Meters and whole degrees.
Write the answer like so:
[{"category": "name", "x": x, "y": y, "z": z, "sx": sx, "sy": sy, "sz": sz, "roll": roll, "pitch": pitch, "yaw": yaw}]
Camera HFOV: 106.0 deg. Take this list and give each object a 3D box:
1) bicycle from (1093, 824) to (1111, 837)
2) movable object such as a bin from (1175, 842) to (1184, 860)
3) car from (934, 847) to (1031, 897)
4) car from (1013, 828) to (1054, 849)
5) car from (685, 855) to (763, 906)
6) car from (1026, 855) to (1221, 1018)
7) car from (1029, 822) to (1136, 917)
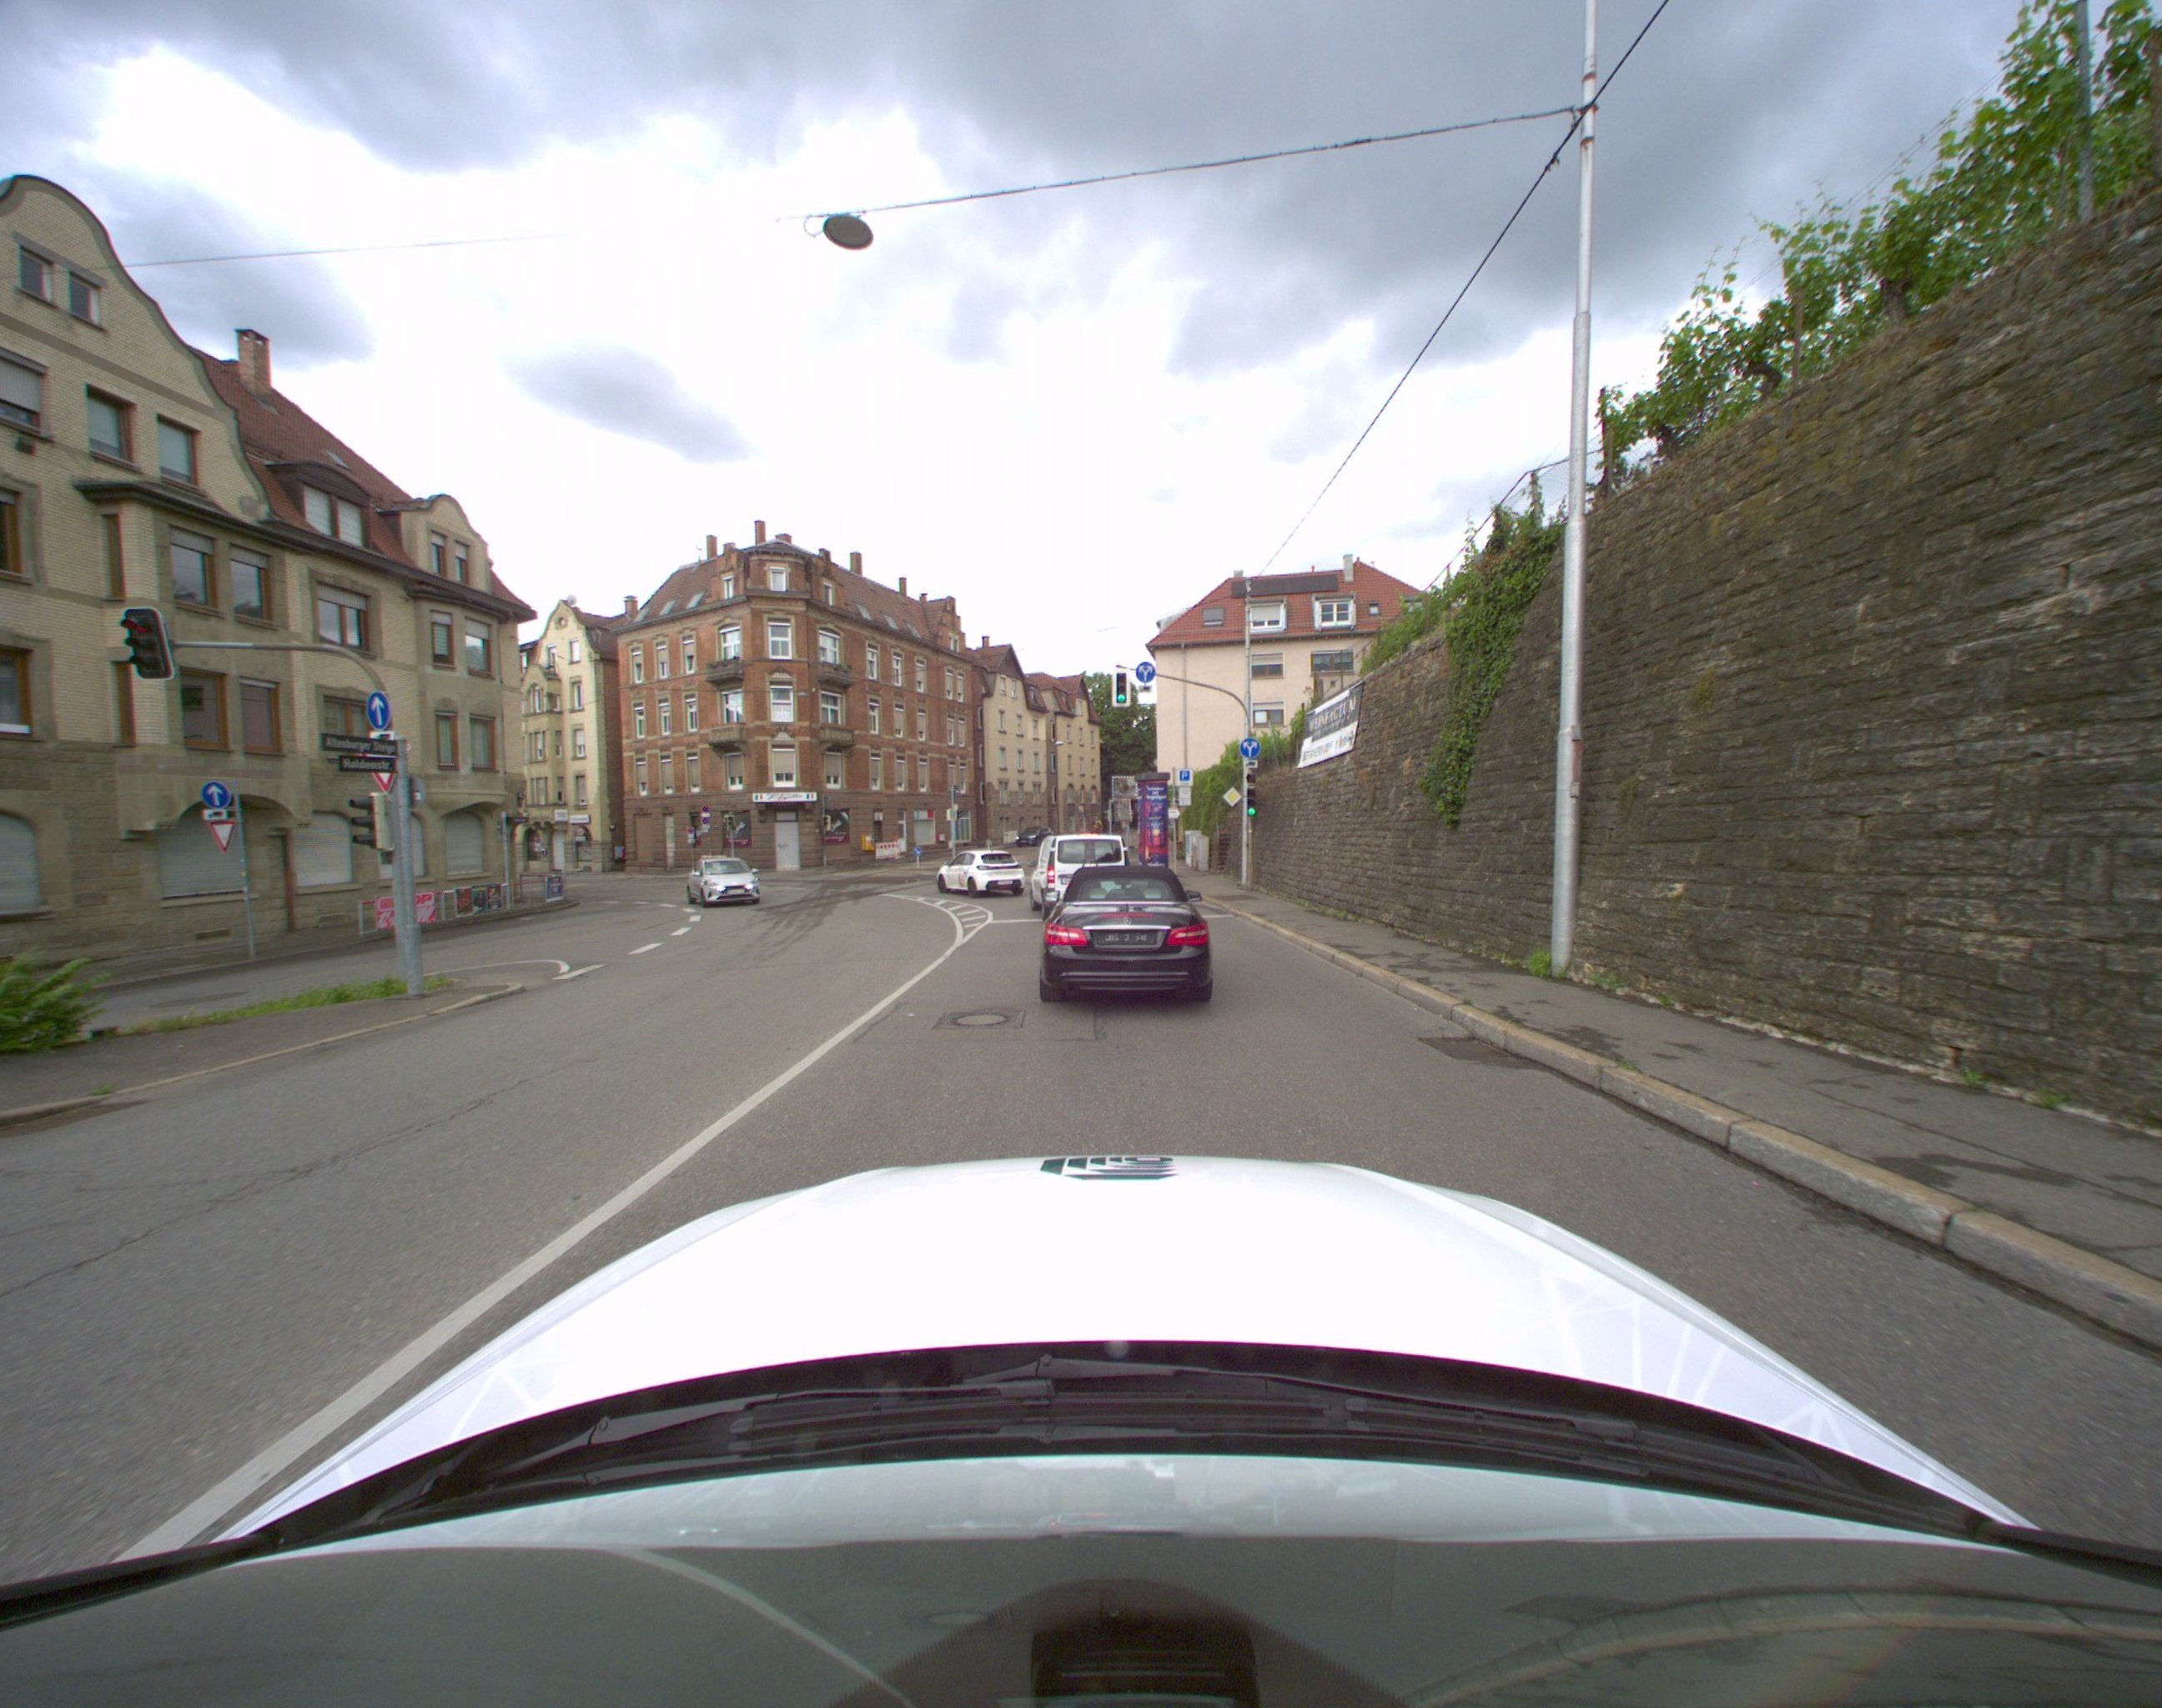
[{"category": "bicycle", "x": 2.269, "y": -2.590, "z": 89.109, "sx": 0.625, "sy": 1.306, "sz": 2.616, "roll": -4, "pitch": 2, "yaw": 33}, {"category": "movable object such as a bin", "x": 5.158, "y": -0.149, "z": 42.714, "sx": 0.343, "sy": 0.911, "sz": 0.494, "roll": -1, "pitch": 0, "yaw": -4}, {"category": "car", "x": -3.297, "y": 0.570, "z": 26.620, "sx": 1.692, "sy": 1.466, "sz": 3.880, "roll": -2, "pitch": 0, "yaw": -30}, {"category": "car", "x": -3.908, "y": -1.278, "z": 67.541, "sx": 1.978, "sy": 1.514, "sz": 4.306, "roll": -1, "pitch": 3, "yaw": 17}, {"category": "car", "x": -11.540, "y": 0.812, "z": 26.190, "sx": 1.682, "sy": 1.467, "sz": 3.605, "roll": -1, "pitch": 0, "yaw": -34}, {"category": "car", "x": 0.426, "y": 0.772, "z": 9.756, "sx": 1.755, "sy": 1.409, "sz": 4.399, "roll": -2, "pitch": 0, "yaw": 1}, {"category": "car", "x": -0.105, "y": 0.373, "z": 19.300, "sx": 1.890, "sy": 1.929, "sz": 4.632, "roll": 2, "pitch": -1, "yaw": -8}]
